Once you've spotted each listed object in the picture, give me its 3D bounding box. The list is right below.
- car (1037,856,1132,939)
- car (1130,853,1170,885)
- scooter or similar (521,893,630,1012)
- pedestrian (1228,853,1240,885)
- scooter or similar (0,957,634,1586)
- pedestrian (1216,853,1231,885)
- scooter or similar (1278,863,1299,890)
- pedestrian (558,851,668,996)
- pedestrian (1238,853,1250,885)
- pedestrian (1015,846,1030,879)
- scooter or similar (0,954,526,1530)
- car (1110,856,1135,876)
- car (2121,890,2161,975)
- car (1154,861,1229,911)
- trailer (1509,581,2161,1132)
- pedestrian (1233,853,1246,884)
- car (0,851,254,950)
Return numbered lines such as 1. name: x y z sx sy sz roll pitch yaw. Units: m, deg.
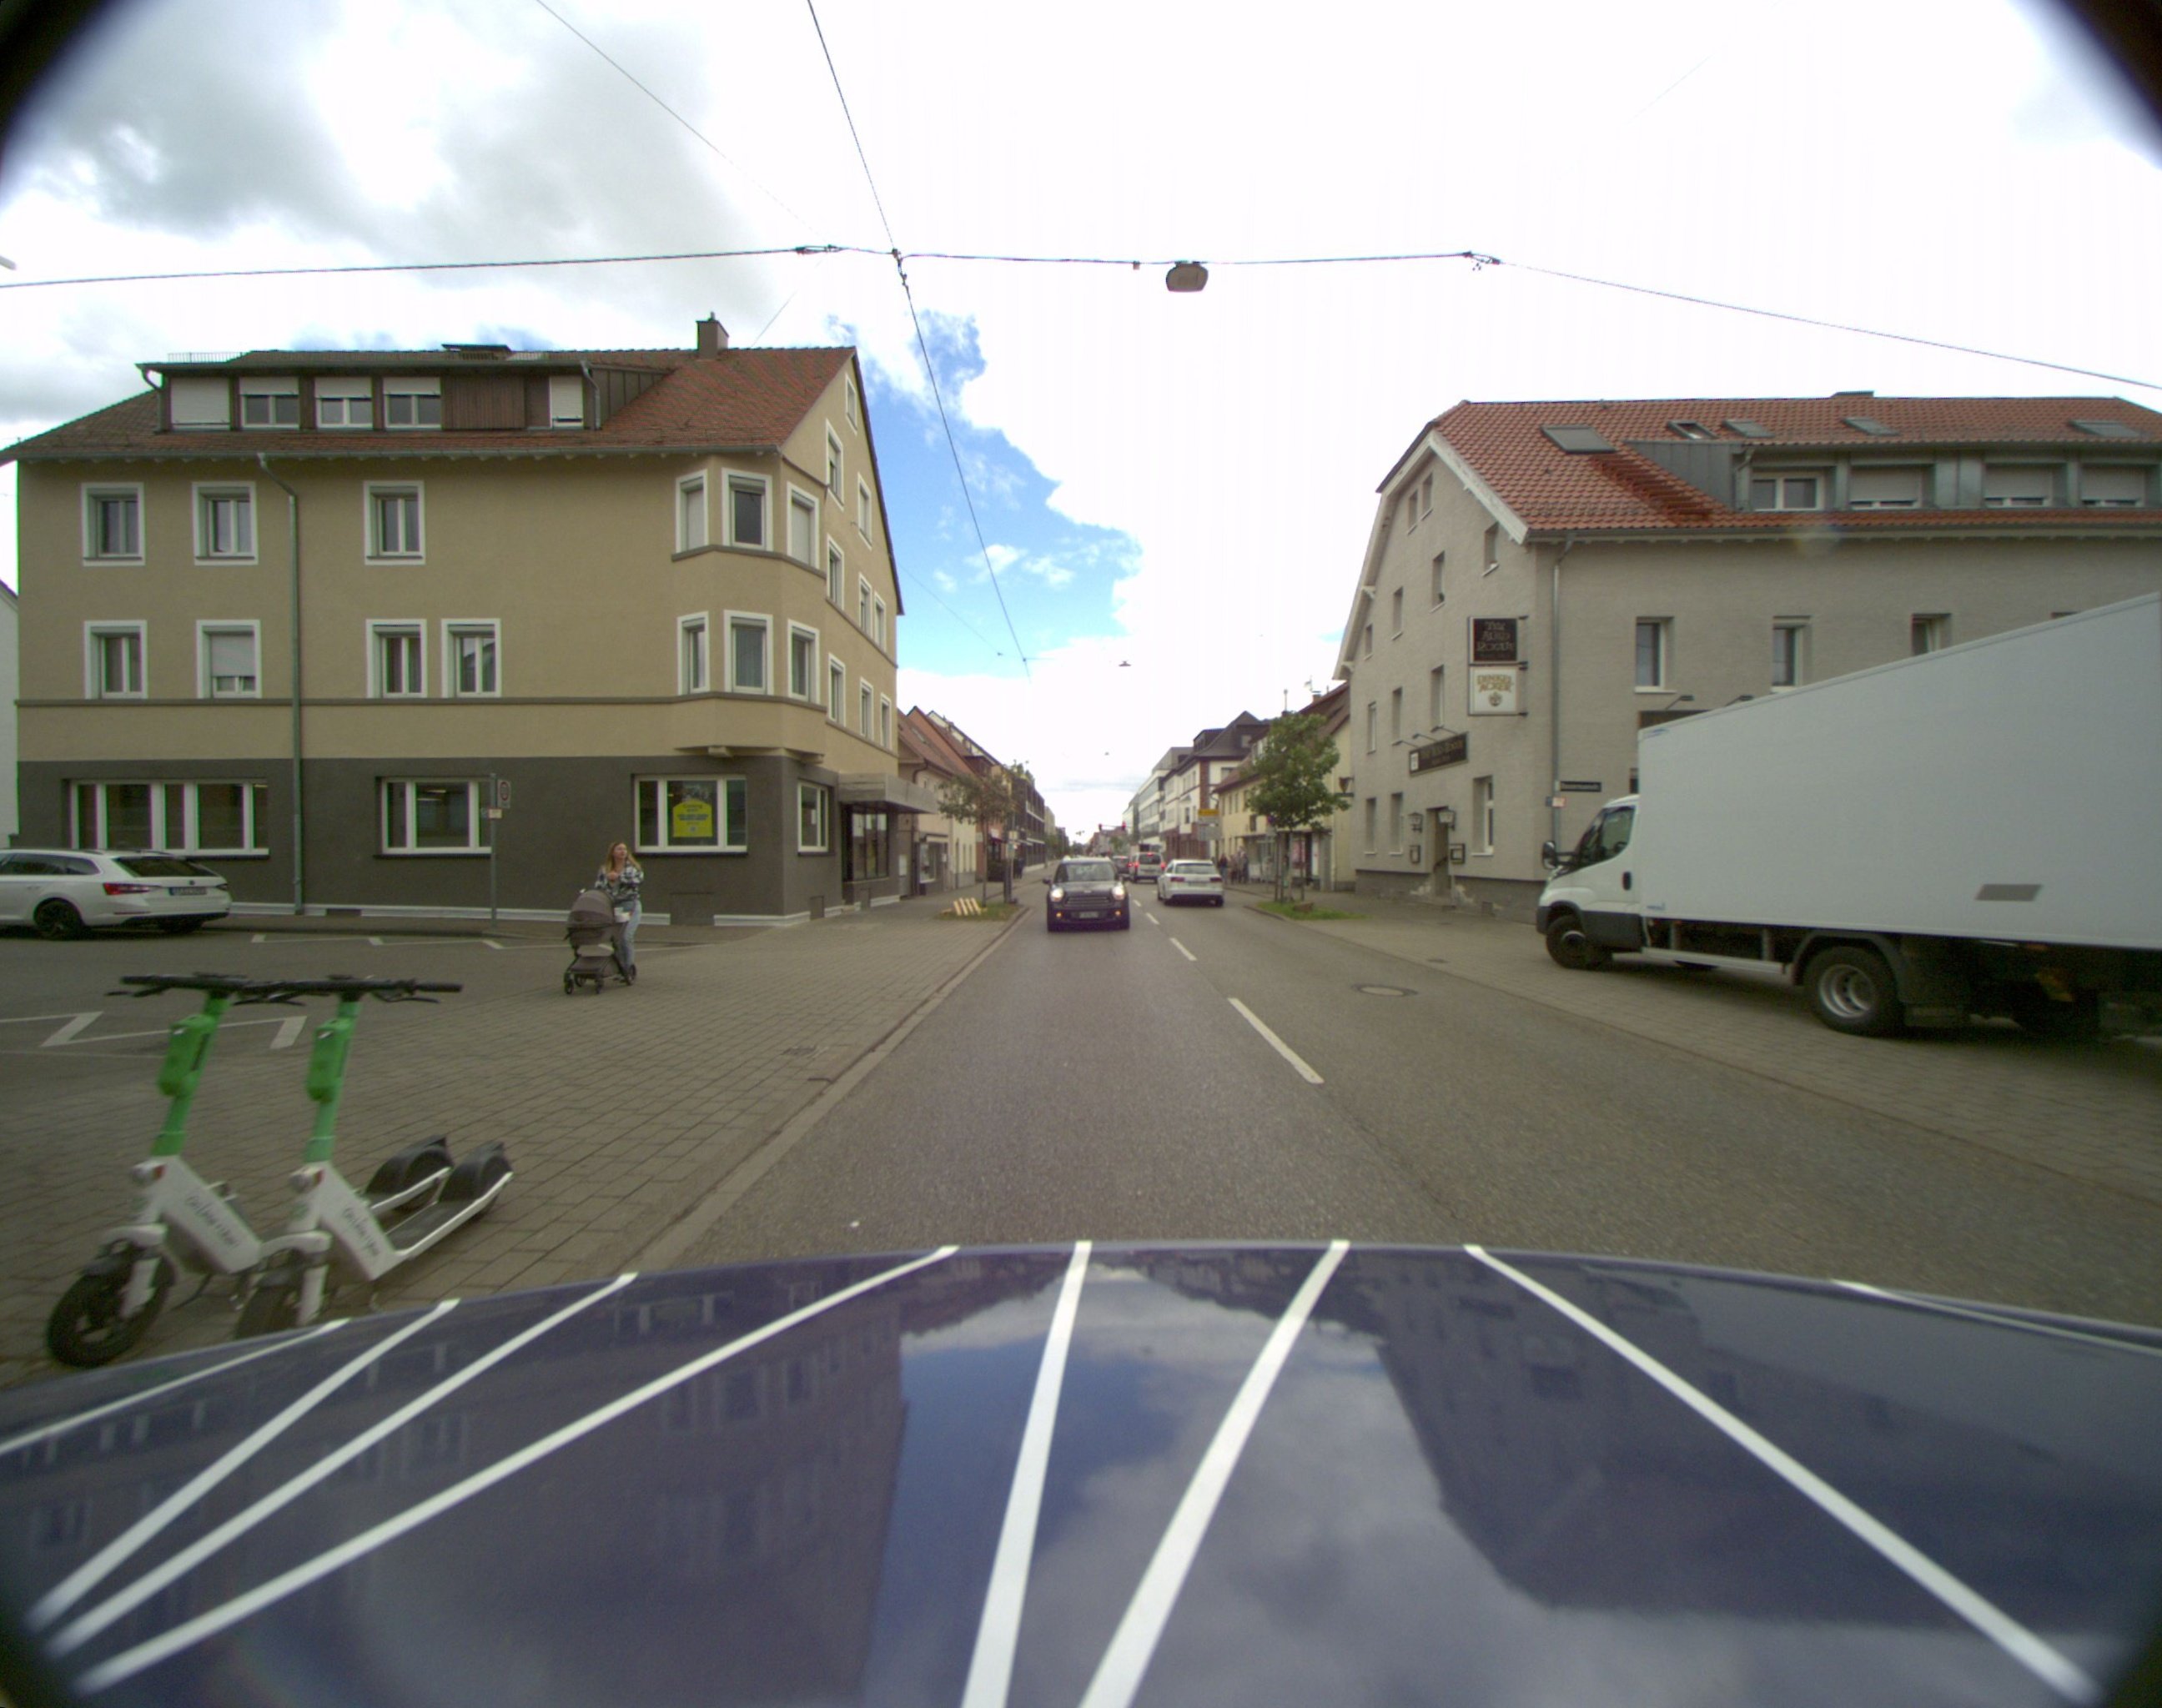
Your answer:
1. car: 0.097 0.890 17.627 1.847 1.571 4.429 -3 0 1
2. car: 4.040 0.845 45.029 1.998 1.785 4.277 1 0 1
3. scooter or similar: -5.693 1.083 8.604 0.591 1.225 0.891 -1 1 0
4. pedestrian: 8.164 0.795 40.559 0.497 1.727 0.648 0 0 1
5. scooter or similar: -2.480 1.128 2.775 0.503 1.228 1.942 -1 0 1
6. pedestrian: 7.748 0.818 41.285 0.679 1.727 0.717 0 0 1
7. scooter or similar: 9.545 1.018 35.000 0.529 1.163 1.721 -1 0 1
8. pedestrian: -5.796 0.826 9.455 0.752 1.710 0.900 -1 1 1
9. pedestrian: 8.729 0.812 40.710 0.555 1.727 0.648 0 0 1
10. pedestrian: -3.791 0.554 49.462 0.826 2.062 1.010 3 1 -3
11. scooter or similar: -3.016 1.115 2.776 0.503 1.228 1.942 -1 0 1
12. car: 3.358 0.954 62.453 1.784 1.543 4.074 2 0 0
13. car: 20.864 1.332 12.806 3.996 1.472 1.781 -1 -2 3
14. car: 3.541 0.984 25.045 1.847 1.425 4.543 1 0 1
15. trailer: 7.559 0.037 7.611 2.509 3.200 7.136 -1 -1 1
16. pedestrian: 8.790 0.807 42.116 0.555 1.727 0.648 0 0 1
17. car: -17.328 0.723 12.890 4.435 1.463 1.909 2 -1 0
